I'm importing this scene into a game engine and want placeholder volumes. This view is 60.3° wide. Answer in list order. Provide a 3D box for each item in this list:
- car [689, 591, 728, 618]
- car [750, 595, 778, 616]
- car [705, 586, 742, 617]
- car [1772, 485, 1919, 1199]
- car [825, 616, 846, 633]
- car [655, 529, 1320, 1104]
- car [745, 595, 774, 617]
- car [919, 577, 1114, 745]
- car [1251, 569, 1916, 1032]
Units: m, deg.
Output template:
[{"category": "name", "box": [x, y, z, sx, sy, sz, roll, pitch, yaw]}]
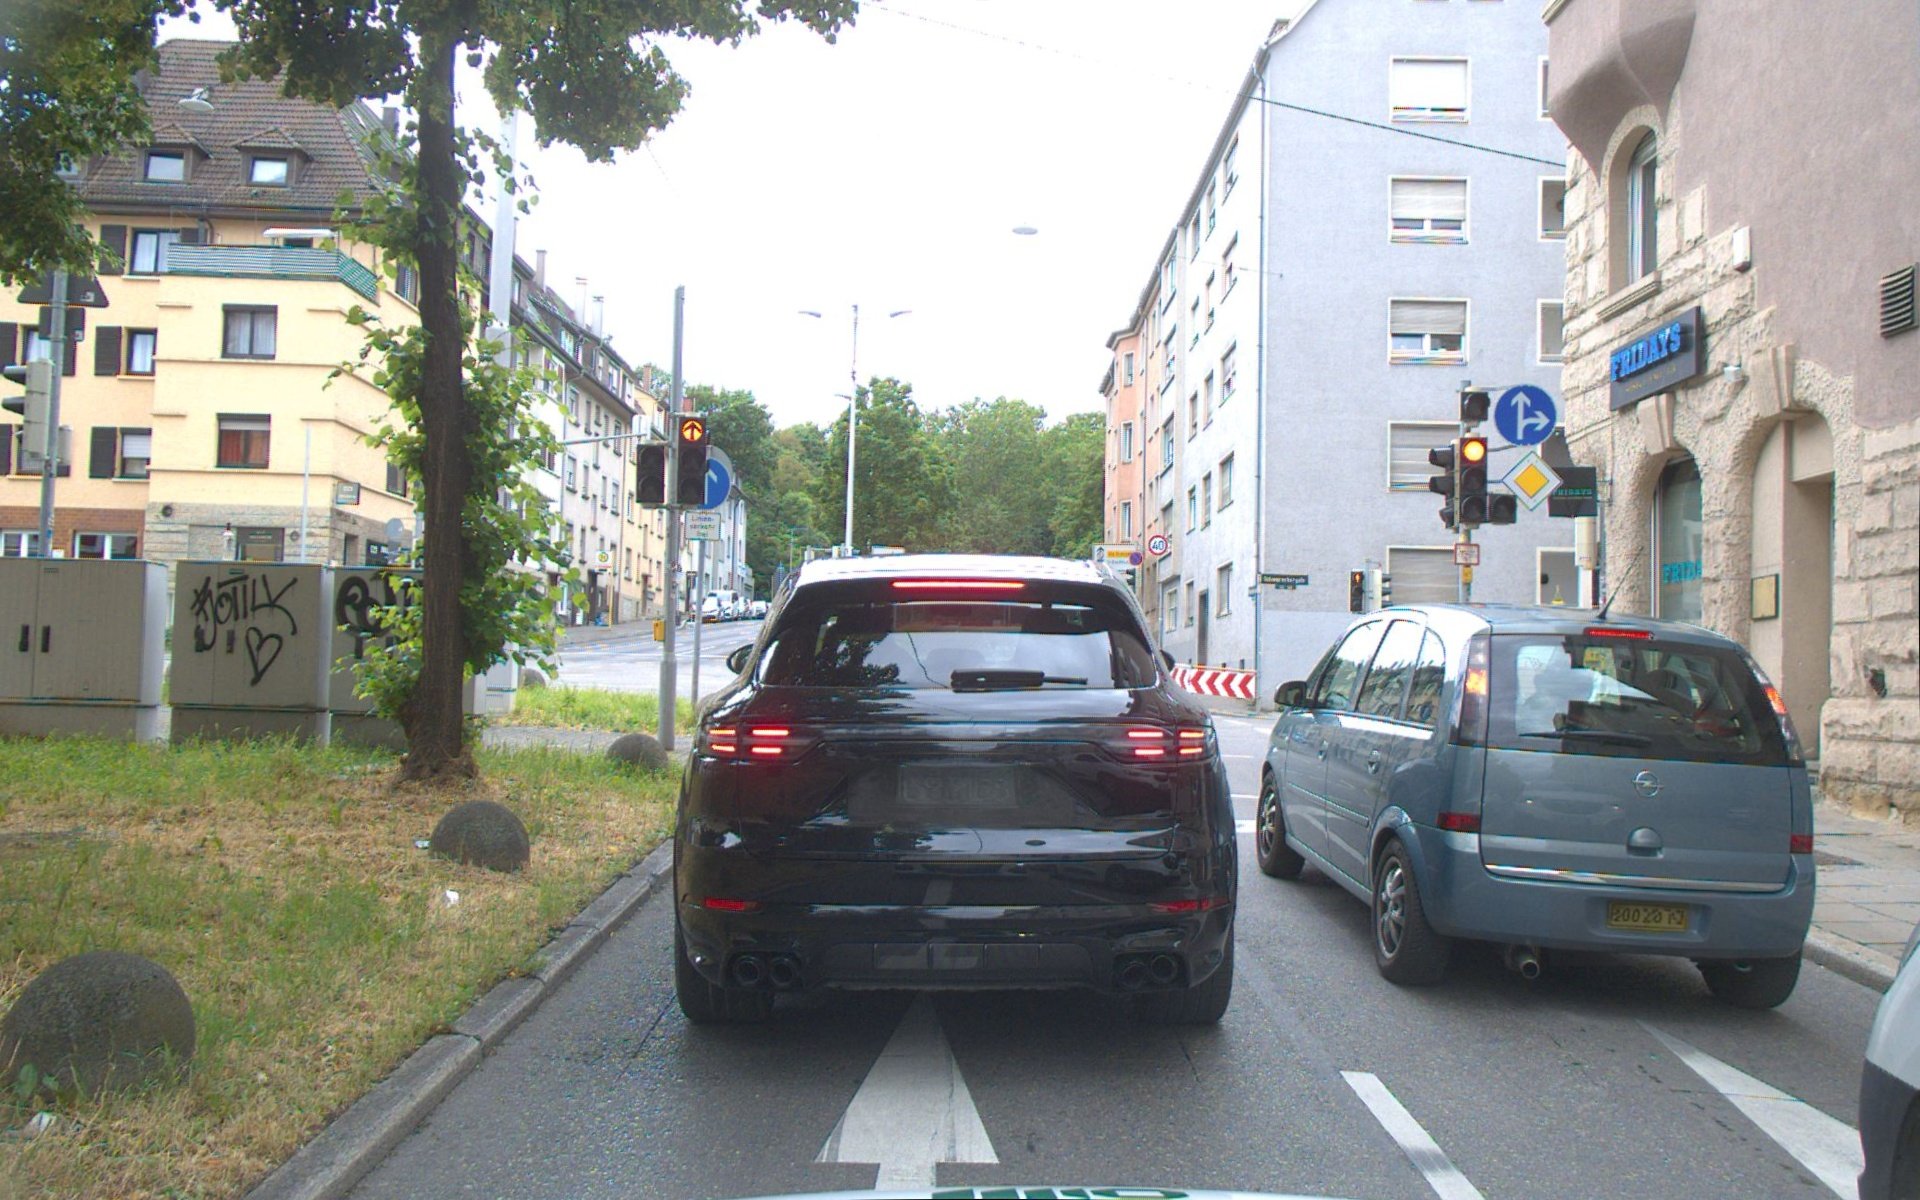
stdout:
[{"category": "car", "box": [-14.960, 0.267, 98.495, 1.758, 1.536, 3.999, 1, 0, -1]}, {"category": "car", "box": [-15.374, 0.414, 129.796, 1.758, 1.536, 3.999, 1, 0, -1]}, {"category": "car", "box": [-14.780, 0.074, 103.522, 1.758, 1.841, 3.999, 1, 0, -1]}, {"category": "car", "box": [2.818, 0.669, 1.655, 1.811, 1.857, 5.022, 2, -1, 4]}, {"category": "car", "box": [-11.465, 2.264, 152.691, 1.758, 1.537, 3.998, 1, -2, -1]}, {"category": "car", "box": [0.114, 0.615, 6.880, 1.953, 1.681, 4.001, 0, 1, 1]}, {"category": "car", "box": [-15.104, 0.452, 124.902, 1.758, 1.536, 3.999, 1, 0, -1]}, {"category": "car", "box": [0.605, 0.627, 18.697, 1.953, 1.682, 4.000, 0, 0, 1]}, {"category": "car", "box": [2.679, 0.761, 8.056, 1.717, 1.621, 3.629, 4, 0, -1]}]
